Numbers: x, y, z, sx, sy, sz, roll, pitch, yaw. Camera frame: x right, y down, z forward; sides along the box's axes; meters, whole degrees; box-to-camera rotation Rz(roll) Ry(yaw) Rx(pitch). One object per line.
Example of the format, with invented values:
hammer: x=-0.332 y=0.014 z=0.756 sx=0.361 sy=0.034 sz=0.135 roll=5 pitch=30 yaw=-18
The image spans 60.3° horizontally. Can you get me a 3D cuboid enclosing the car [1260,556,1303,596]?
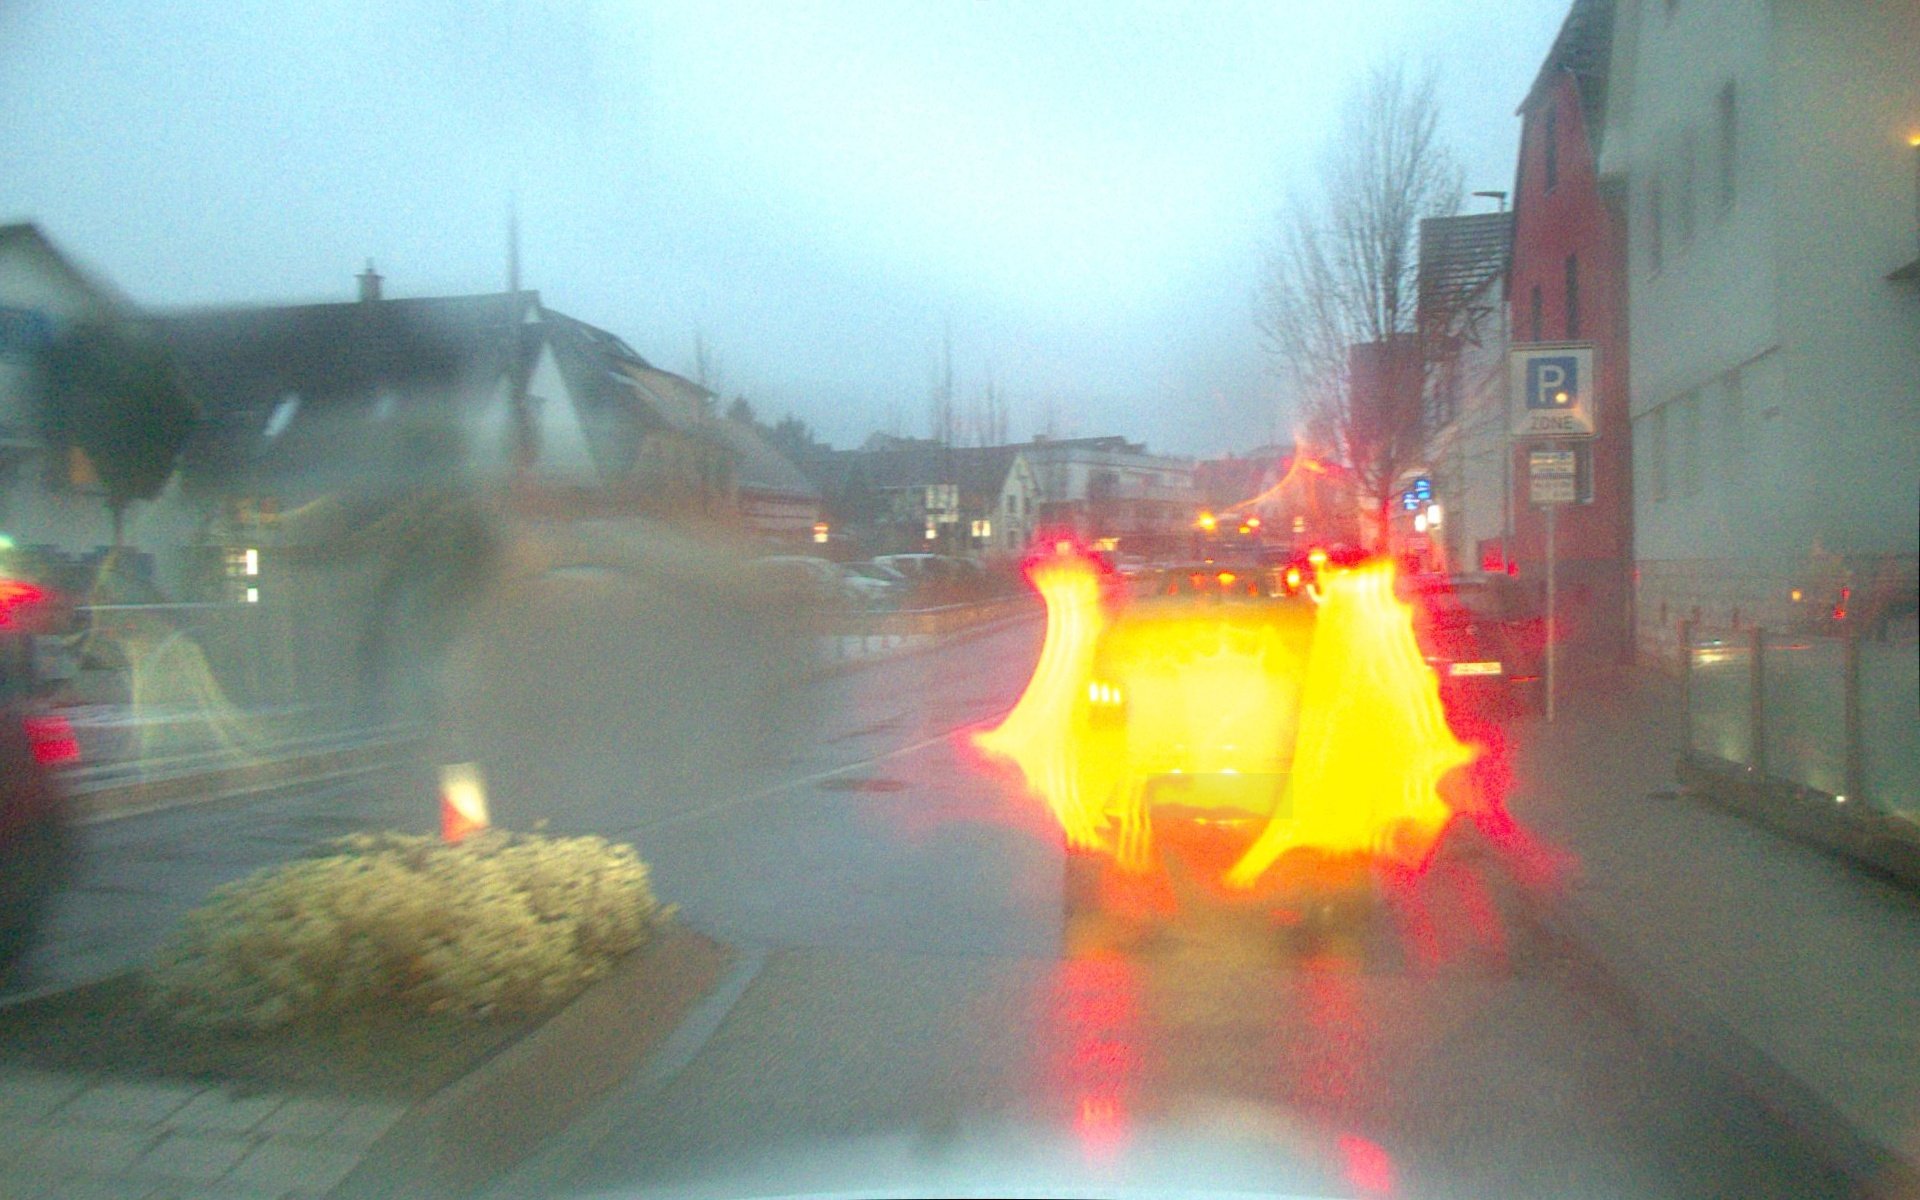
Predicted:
car: x=15.413 y=-1.152 z=79.433 sx=1.955 sy=1.897 sz=4.087 roll=0 pitch=1 yaw=9

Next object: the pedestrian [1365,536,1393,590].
pedestrian: x=13.724 y=-1.214 z=54.204 sx=0.698 sy=1.745 sz=1.034 roll=-2 pitch=2 yaw=23

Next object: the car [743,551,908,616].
car: x=-3.331 y=-0.413 z=41.158 sx=3.713 sy=1.549 sz=1.716 roll=0 pitch=1 yaw=16

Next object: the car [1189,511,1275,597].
car: x=10.607 y=-1.723 z=64.724 sx=3.122 sy=3.084 sz=6.310 roll=1 pitch=-1 yaw=9

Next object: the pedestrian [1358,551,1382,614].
pedestrian: x=11.495 y=-0.495 z=46.392 sx=0.561 sy=1.729 sz=0.653 roll=-2 pitch=0 yaw=11

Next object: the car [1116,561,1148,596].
car: x=10.778 y=-1.328 z=103.377 sx=1.879 sy=2.063 sz=3.978 roll=1 pitch=-1 yaw=7

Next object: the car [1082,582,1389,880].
car: x=1.633 y=0.643 z=9.934 sx=1.529 sy=1.437 sz=3.021 roll=1 pitch=2 yaw=9

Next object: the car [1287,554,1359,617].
car: x=10.467 y=-0.446 z=47.933 sx=1.698 sy=1.721 sz=4.390 roll=-1 pitch=1 yaw=8

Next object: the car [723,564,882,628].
car: x=-3.639 y=-0.103 z=38.501 sx=3.371 sy=1.396 sz=1.602 roll=-1 pitch=1 yaw=8

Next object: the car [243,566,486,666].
car: x=-10.114 y=0.226 z=28.494 sx=1.764 sy=1.508 sz=4.576 roll=-3 pitch=0 yaw=11

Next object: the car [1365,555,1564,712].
car: x=5.669 y=0.295 z=19.018 sx=1.691 sy=1.490 sz=4.203 roll=-3 pitch=1 yaw=11

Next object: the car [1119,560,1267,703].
car: x=3.047 y=0.332 z=21.473 sx=1.729 sy=1.656 sz=3.589 roll=1 pitch=2 yaw=9

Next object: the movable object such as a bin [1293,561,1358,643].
movable object such as a bin: x=7.026 y=0.023 z=31.885 sx=1.105 sy=1.445 sz=1.419 roll=-4 pitch=1 yaw=11

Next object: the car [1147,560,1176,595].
car: x=13.529 y=-1.478 z=110.935 sx=1.879 sy=2.254 sz=3.978 roll=1 pitch=-1 yaw=7

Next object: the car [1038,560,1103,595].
car: x=7.370 y=-1.491 z=110.716 sx=1.978 sy=2.204 sz=4.329 roll=1 pitch=-1 yaw=-36

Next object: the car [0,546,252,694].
car: x=-11.655 y=0.225 z=21.805 sx=1.718 sy=1.730 sz=4.569 roll=-4 pitch=1 yaw=15

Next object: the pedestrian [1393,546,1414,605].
pedestrian: x=12.963 y=-0.714 z=48.311 sx=0.518 sy=1.682 sz=0.954 roll=1 pitch=-1 yaw=19

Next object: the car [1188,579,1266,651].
car: x=5.534 y=0.280 z=34.331 sx=1.508 sy=1.354 sz=3.314 roll=1 pitch=2 yaw=9

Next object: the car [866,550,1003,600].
car: x=-0.856 y=-0.857 z=57.384 sx=4.527 sy=1.696 sz=2.002 roll=0 pitch=1 yaw=7

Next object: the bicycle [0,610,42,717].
bicycle: x=-9.724 y=0.637 z=15.781 sx=0.460 sy=1.027 sz=1.738 roll=-1 pitch=1 yaw=25

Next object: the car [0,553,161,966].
car: x=-4.680 y=0.603 z=5.255 sx=1.666 sy=1.529 sz=3.901 roll=0 pitch=1 yaw=17
